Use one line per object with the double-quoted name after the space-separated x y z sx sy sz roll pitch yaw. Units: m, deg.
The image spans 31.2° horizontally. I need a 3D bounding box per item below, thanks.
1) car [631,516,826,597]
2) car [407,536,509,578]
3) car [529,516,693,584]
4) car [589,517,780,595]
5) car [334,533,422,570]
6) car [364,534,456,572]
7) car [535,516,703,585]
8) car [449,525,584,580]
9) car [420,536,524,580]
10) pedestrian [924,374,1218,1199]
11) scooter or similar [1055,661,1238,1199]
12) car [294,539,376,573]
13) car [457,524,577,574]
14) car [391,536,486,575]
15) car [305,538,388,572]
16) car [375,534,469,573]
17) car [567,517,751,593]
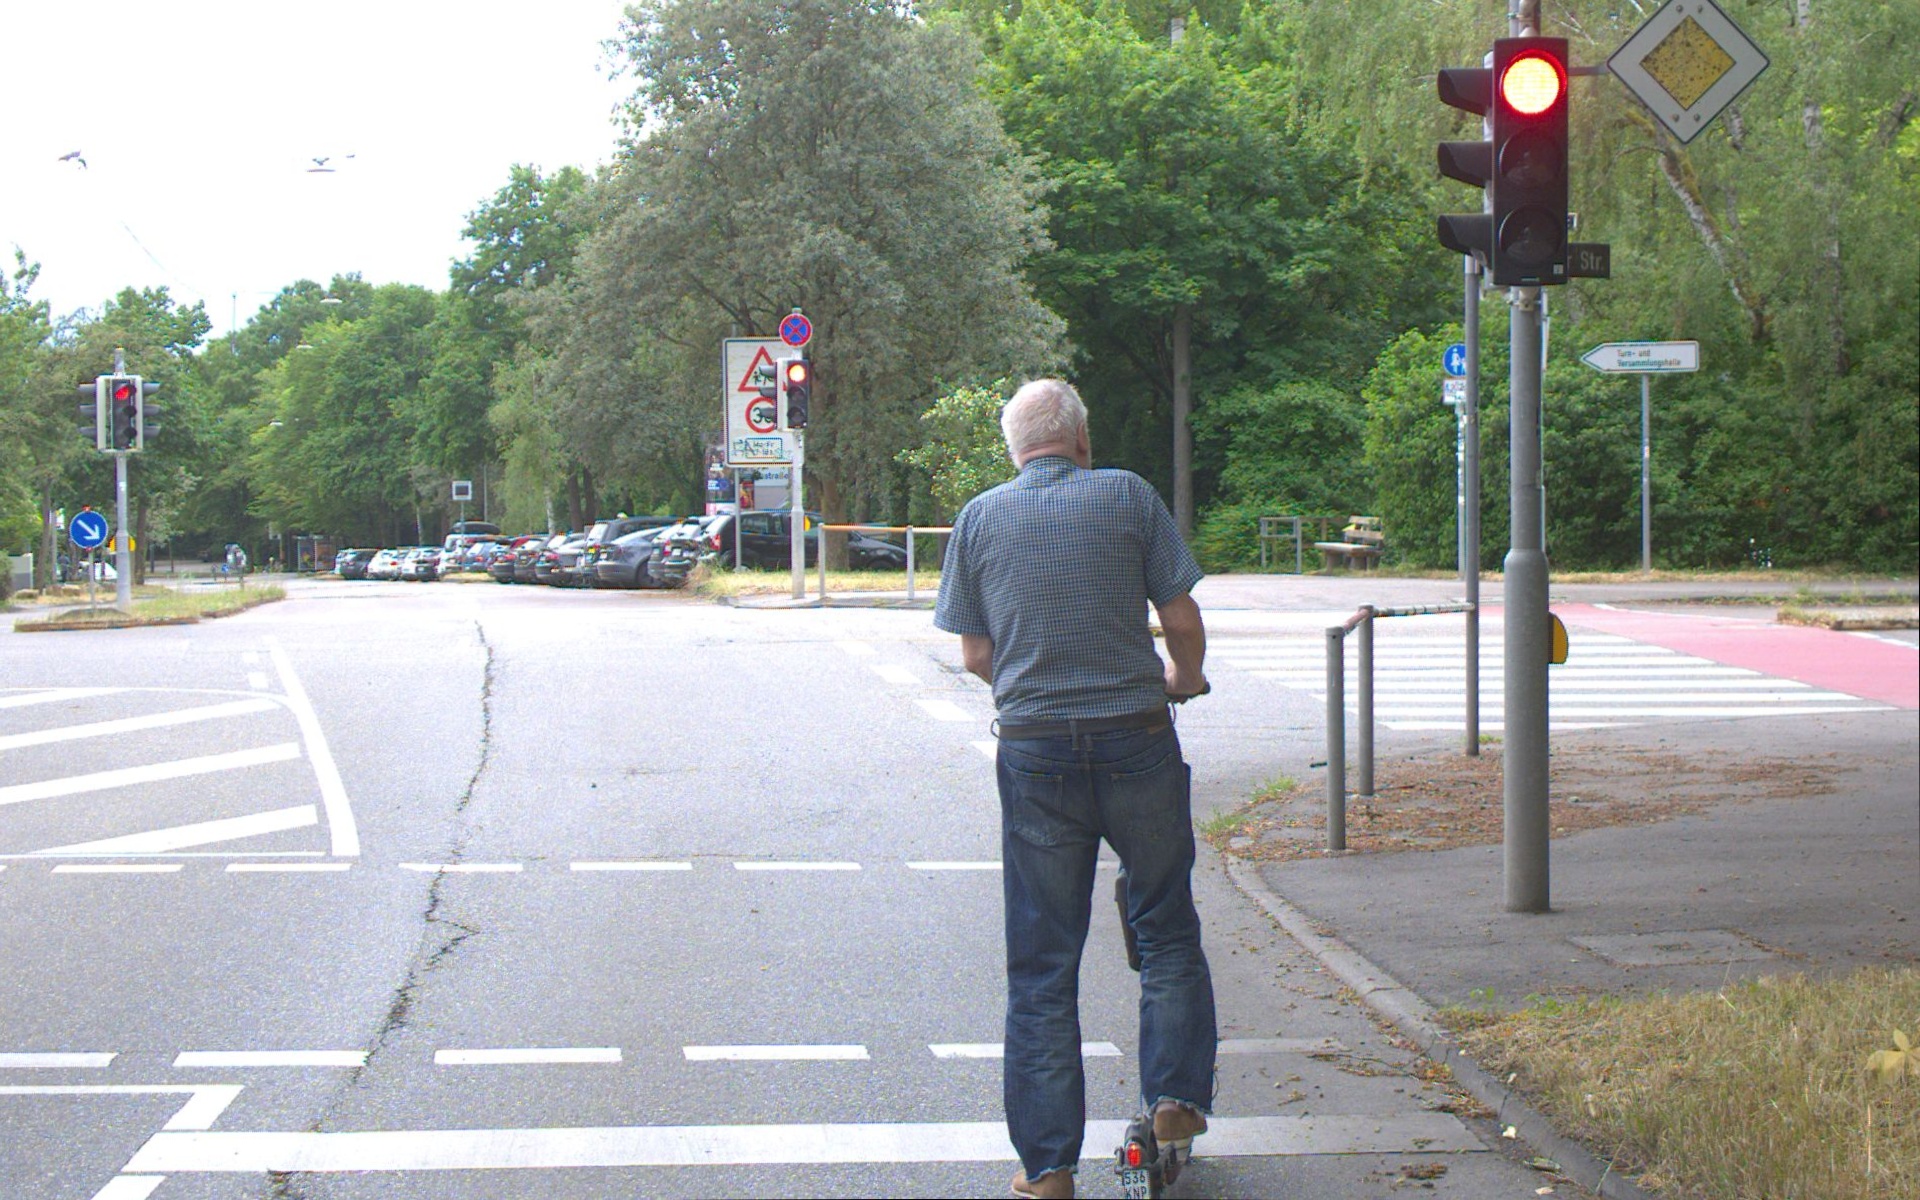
-5.048 -0.963 74.789 3.840 1.605 1.729 -2 2 -21 "car"
-20.849 -1.793 142.767 3.840 1.605 1.729 -3 2 -23 "car"
-9.039 -1.303 89.060 3.840 1.605 1.729 -3 2 -23 "car"
-6.148 -0.993 76.760 3.841 1.605 1.728 -3 2 -24 "car"
-28.058 -2.343 165.838 3.840 1.605 1.729 -3 2 -23 "car"
-25.388 -2.175 158.773 3.840 1.605 1.729 -3 2 -23 "car"
-8.599 -1.258 86.648 3.840 1.605 1.729 -3 2 -23 "car"
-14.053 -1.511 108.924 3.840 1.605 1.729 -3 2 -23 "car"
-19.745 -1.713 139.092 3.840 1.605 1.729 -3 2 -23 "car"
0.252 0.422 7.567 0.573 1.807 0.420 -1 1 8 "pedestrian"
0.417 0.748 7.396 0.282 1.174 1.177 -1 1 8 "scooter or similar"
-32.346 -2.265 177.973 3.840 1.605 1.729 -3 2 -23 "car"
-15.700 -1.822 121.891 3.840 1.605 1.729 -3 2 -23 "car"
-23.371 -2.018 154.071 3.840 1.605 1.729 -3 2 -23 "car"
-31.324 -2.293 175.634 3.840 1.605 1.729 -3 2 -23 "car"
-24.446 -2.115 156.203 3.840 1.605 1.729 -3 2 -23 "car"
-6.950 -1.045 79.301 3.840 1.605 1.729 -3 2 -23 "car"
